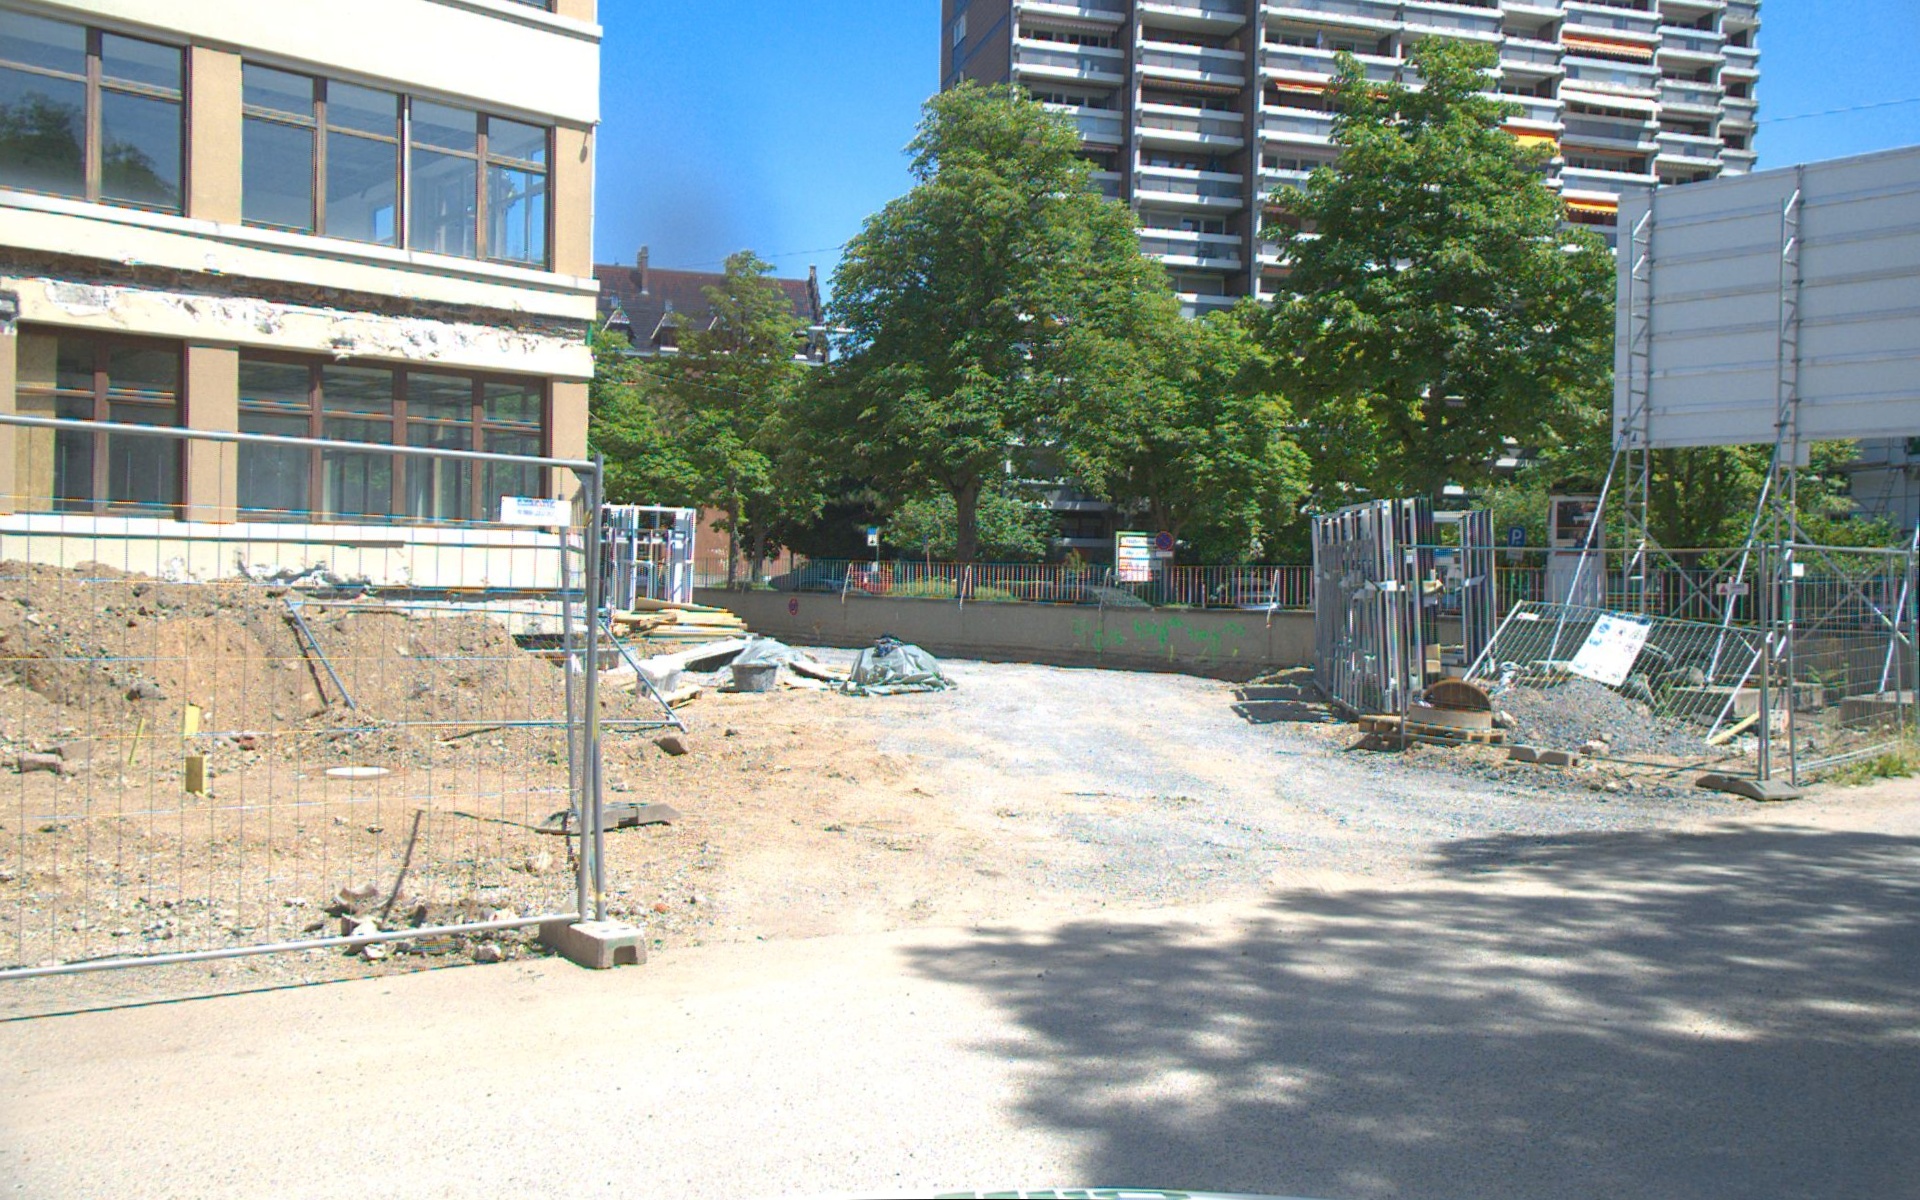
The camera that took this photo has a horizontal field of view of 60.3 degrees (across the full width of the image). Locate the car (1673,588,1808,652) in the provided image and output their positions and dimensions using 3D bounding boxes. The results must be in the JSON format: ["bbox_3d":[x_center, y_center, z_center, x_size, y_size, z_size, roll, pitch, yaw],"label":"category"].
[{"bbox_3d":[19.252,0.452,40.944,1.599,1.489,3.678,1,0,0],"label":"car"}]

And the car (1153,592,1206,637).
[{"bbox_3d":[7.222,0.465,54.703,1.598,1.411,3.680,1,0,6],"label":"car"}]

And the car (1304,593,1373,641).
[{"bbox_3d":[11.616,0.503,50.943,1.598,1.411,3.680,1,0,6],"label":"car"}]

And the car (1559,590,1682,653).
[{"bbox_3d":[16.389,0.496,41.210,1.599,1.489,3.678,1,0,0],"label":"car"}]

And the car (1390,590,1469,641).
[{"bbox_3d":[13.661,0.429,48.278,1.598,1.411,3.680,1,0,6],"label":"car"}]

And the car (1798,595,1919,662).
[{"bbox_3d":[21.576,0.646,39.396,1.598,1.489,3.680,1,0,4],"label":"car"}]

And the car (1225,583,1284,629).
[{"bbox_3d":[9.494,0.172,53.533,1.598,1.411,3.680,1,0,6],"label":"car"}]
